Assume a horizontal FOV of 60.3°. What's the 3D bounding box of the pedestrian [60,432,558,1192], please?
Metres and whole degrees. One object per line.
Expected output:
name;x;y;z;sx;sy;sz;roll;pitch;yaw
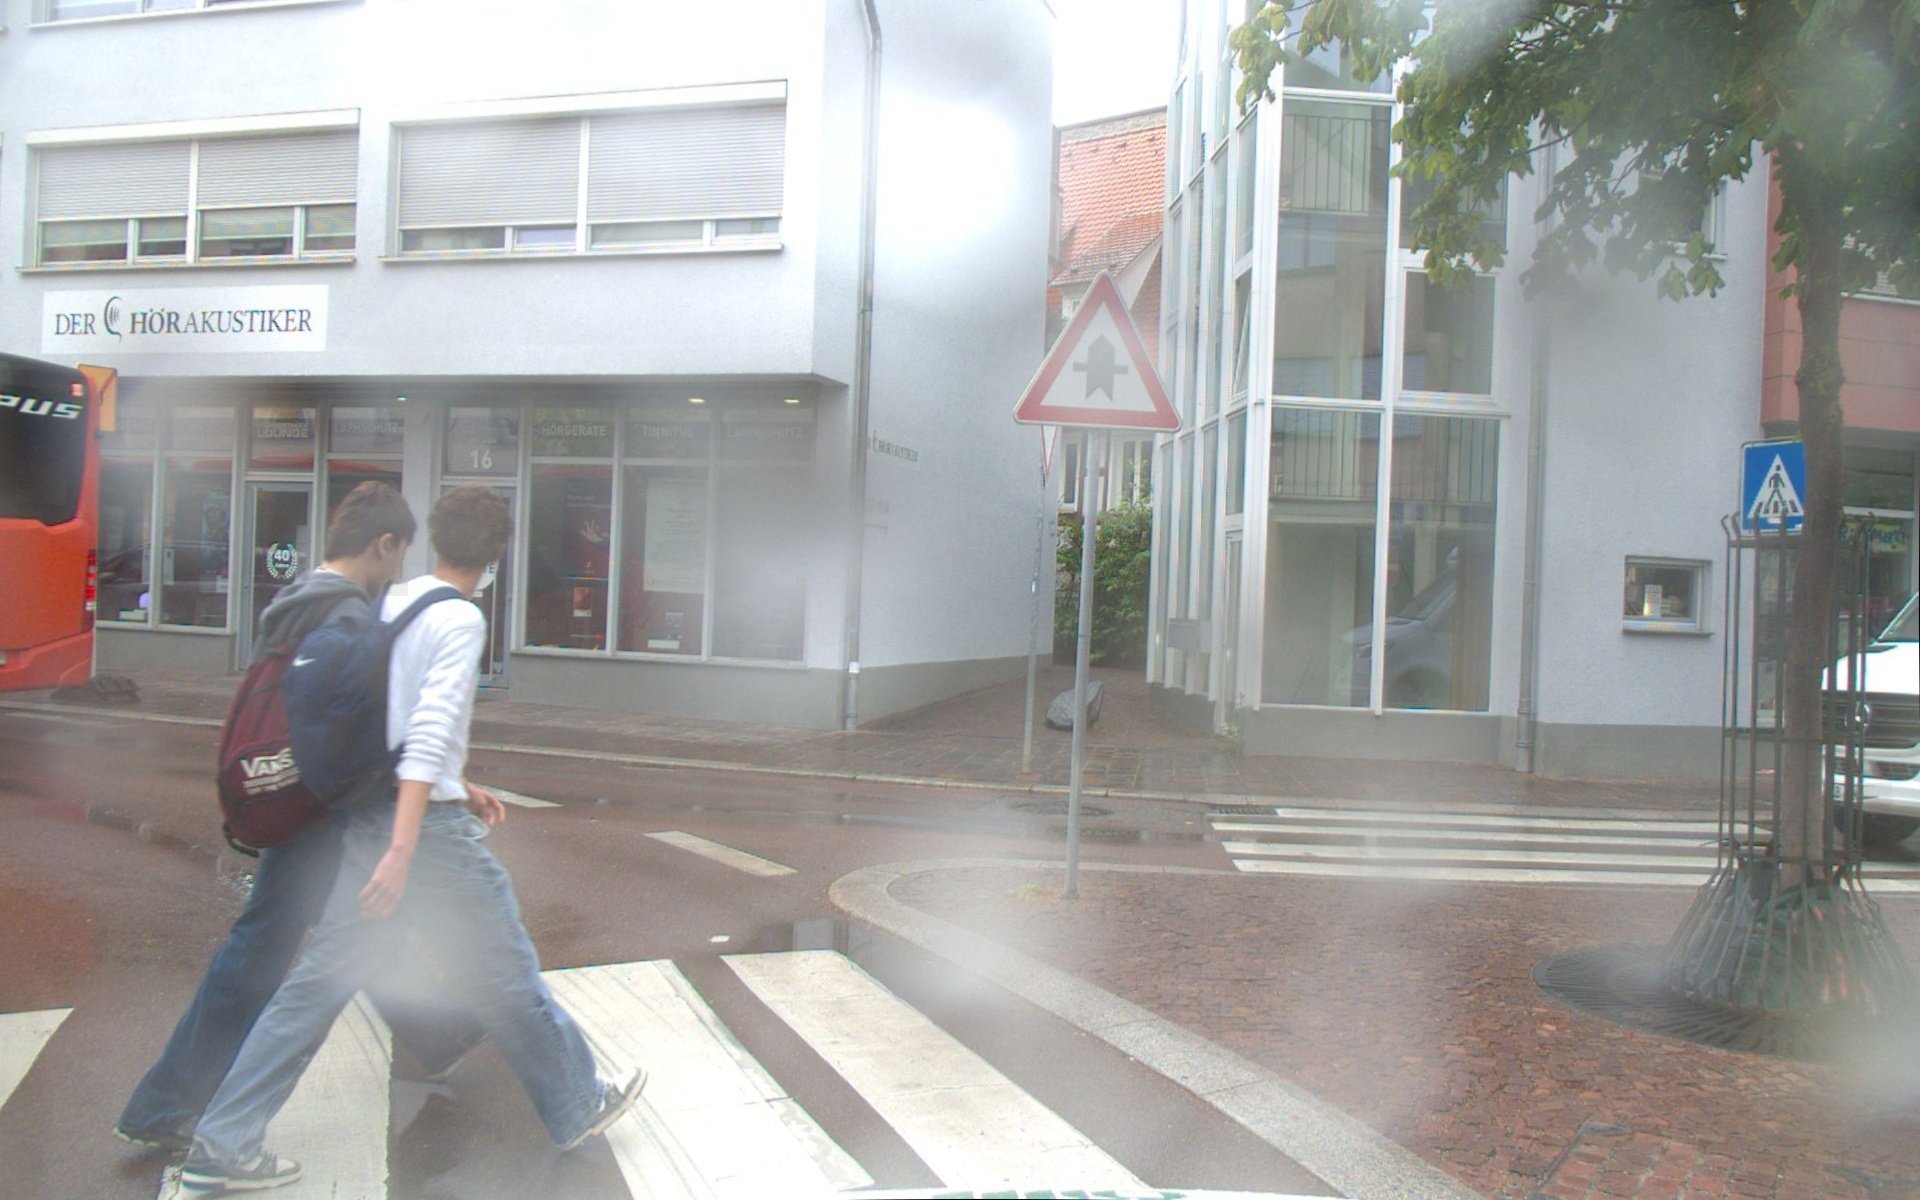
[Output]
pedestrian;-1.783;0.512;4.625;0.680;1.832;1.055;1;-1;34

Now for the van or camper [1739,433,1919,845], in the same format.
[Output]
van or camper;9.213;0.375;11.819;6.617;2.631;2.436;2;-2;-15

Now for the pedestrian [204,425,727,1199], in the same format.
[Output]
pedestrian;-1.223;0.541;4.223;0.652;1.838;1.057;1;-1;35

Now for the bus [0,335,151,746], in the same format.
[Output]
bus;-12.284;-0.711;14.219;10.351;3.141;2.824;3;2;17
